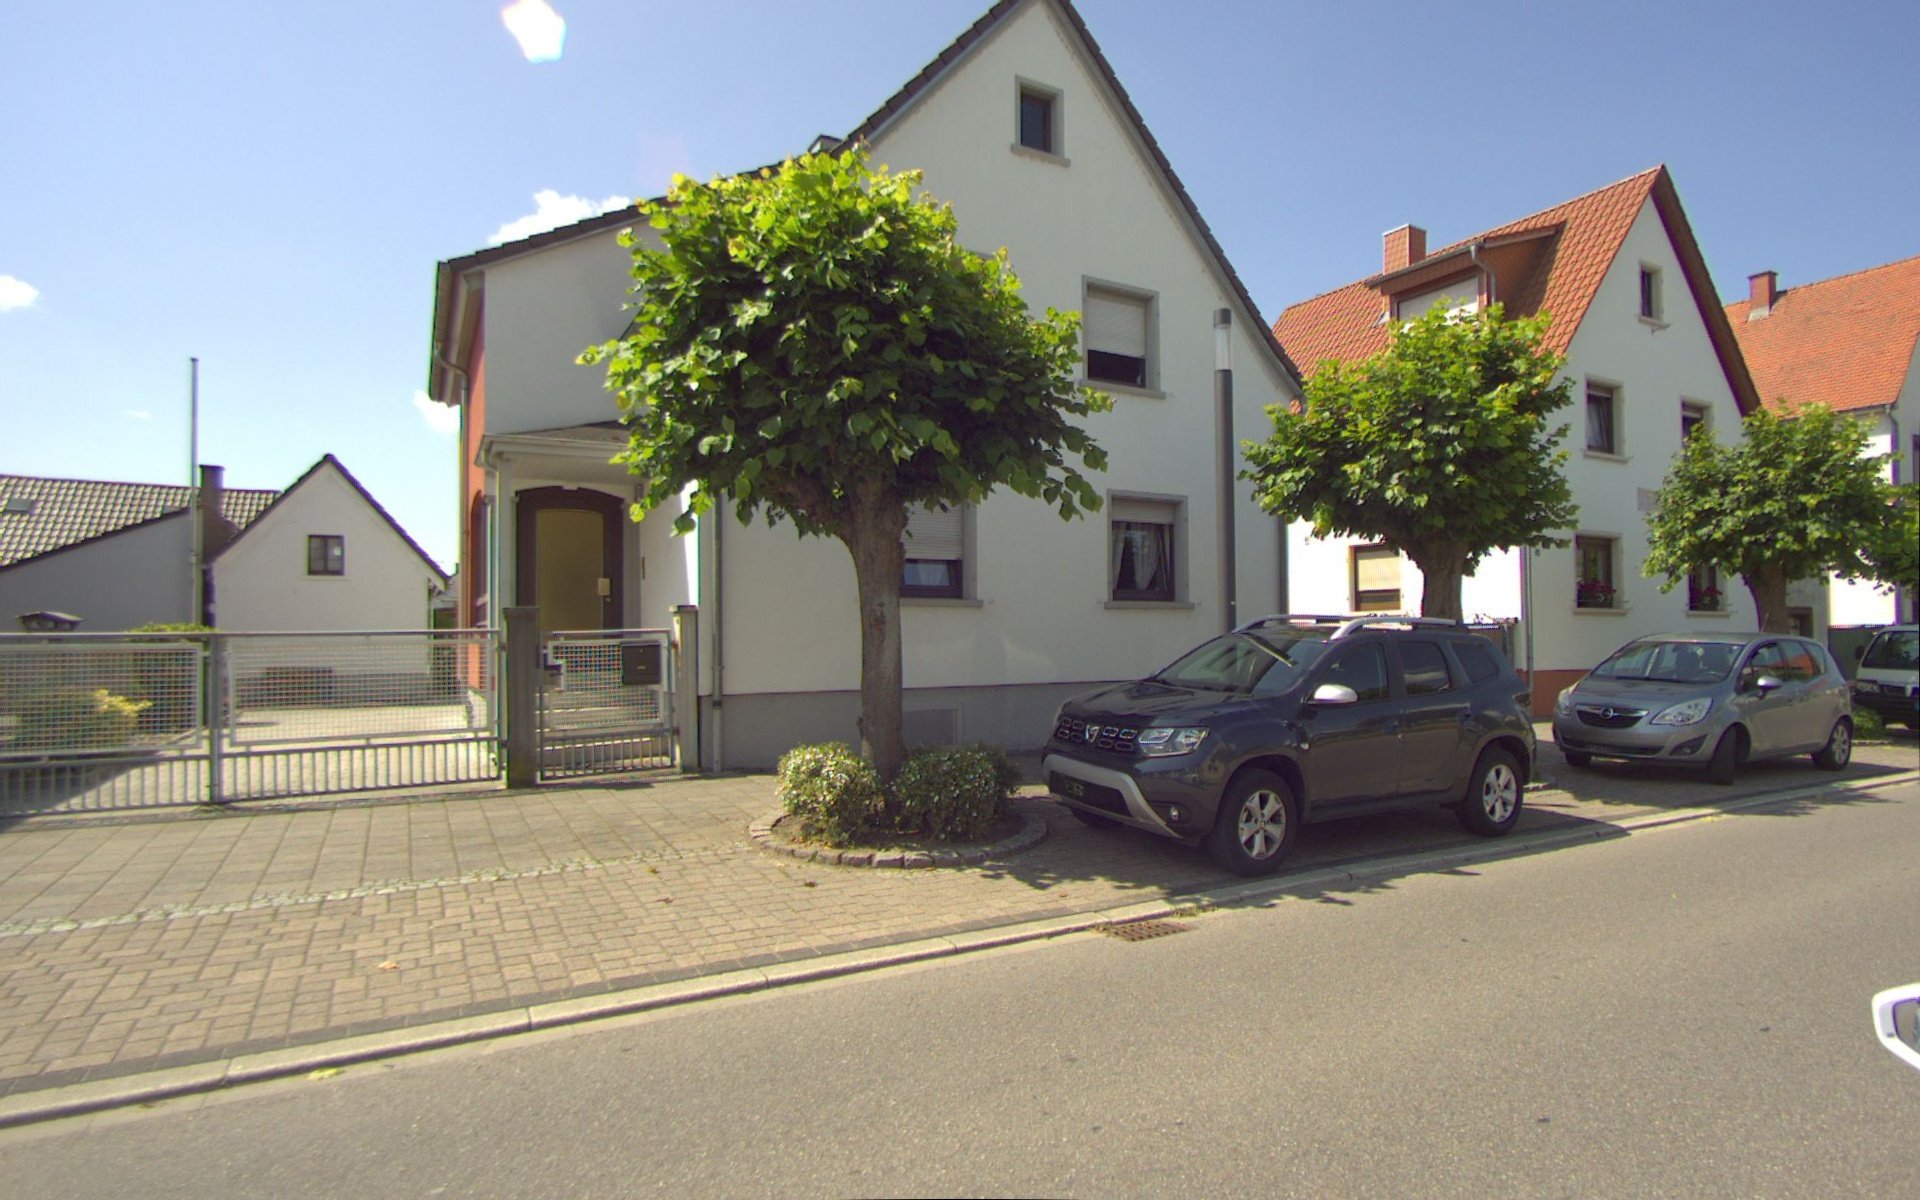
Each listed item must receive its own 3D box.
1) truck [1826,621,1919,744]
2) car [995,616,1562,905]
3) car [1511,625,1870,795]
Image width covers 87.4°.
[{"bbox_3d":[15.779,1.265,16.146,4.143,1.789,1.568,1,0,-31],"label":"truck"},{"bbox_3d":[2.547,0.972,7.797,4.248,1.658,1.844,0,0,-30],"label":"car"},{"bbox_3d":[8.626,1.157,11.790,4.320,1.634,1.844,2,-1,-30],"label":"car"}]
